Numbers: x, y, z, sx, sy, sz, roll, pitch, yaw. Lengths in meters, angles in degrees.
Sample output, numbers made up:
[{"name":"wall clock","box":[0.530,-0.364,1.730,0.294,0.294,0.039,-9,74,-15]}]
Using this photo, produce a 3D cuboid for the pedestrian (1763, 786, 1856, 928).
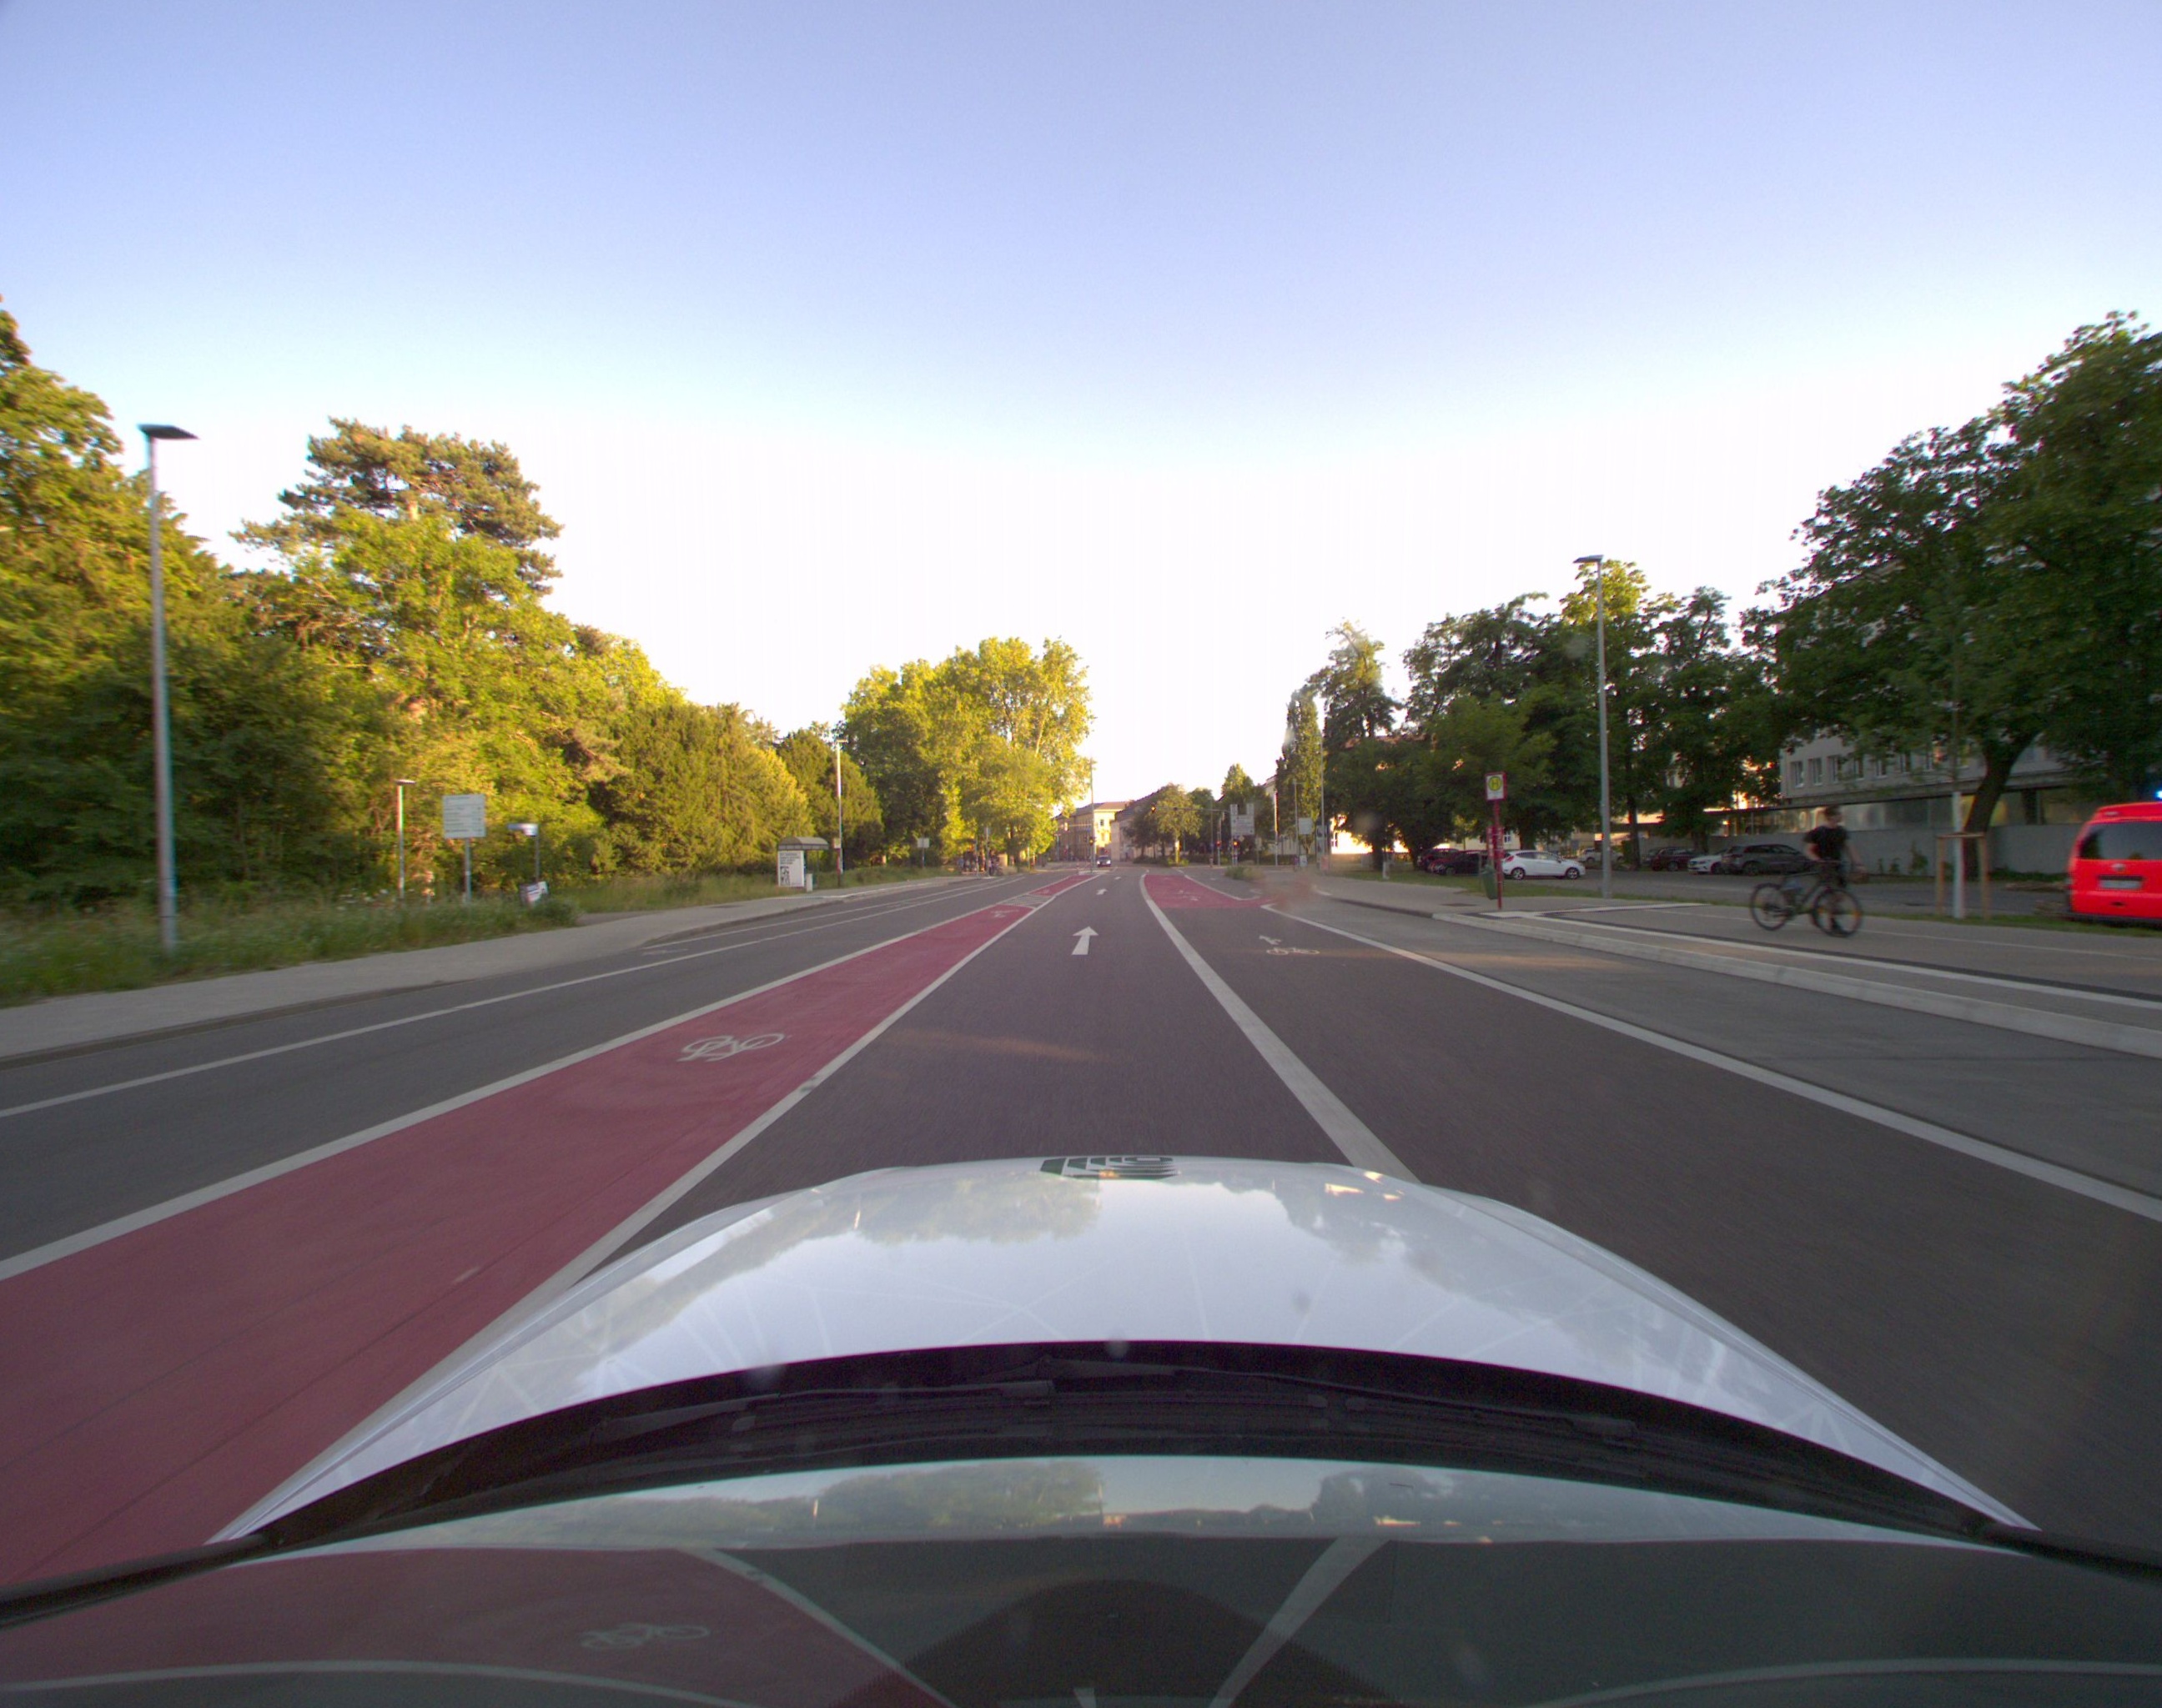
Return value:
[{"name":"pedestrian","box":[10.610,0.041,11.883,0.720,2.014,0.695,0,-1,1]}]

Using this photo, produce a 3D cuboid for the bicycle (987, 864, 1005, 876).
[{"name":"bicycle","box":[-7.849,1.501,75.123,1.749,1.030,0.583,-2,-1,35]}]

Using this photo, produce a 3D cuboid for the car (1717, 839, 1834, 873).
[{"name":"car","box":[34.309,0.119,40.335,3.959,1.617,1.920,0,-1,13]}]

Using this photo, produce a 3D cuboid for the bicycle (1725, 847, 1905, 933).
[{"name":"bicycle","box":[10.646,0.494,11.927,0.827,1.097,1.969,-3,-1,1]}]

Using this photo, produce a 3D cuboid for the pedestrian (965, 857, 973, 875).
[{"name":"pedestrian","box":[-12.078,1.285,88.187,0.653,2.014,0.600,0,-1,-34]}]

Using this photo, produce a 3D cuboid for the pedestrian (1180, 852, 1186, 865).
[{"name":"pedestrian","box":[15.246,0.666,122.178,0.866,2.014,0.723,0,-1,4]}]

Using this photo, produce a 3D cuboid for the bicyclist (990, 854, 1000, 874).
[{"name":"bicyclist","box":[-7.900,0.916,75.151,0.631,1.780,0.580,-2,-1,35]}]

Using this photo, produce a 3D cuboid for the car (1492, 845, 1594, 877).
[{"name":"car","box":[22.819,0.362,40.337,3.964,1.537,1.916,0,0,8]}]

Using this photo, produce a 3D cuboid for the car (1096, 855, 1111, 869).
[{"name":"car","box":[3.111,1.129,112.336,1.843,1.720,4.297,-3,0,1]}]

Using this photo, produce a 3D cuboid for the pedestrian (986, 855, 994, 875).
[{"name":"pedestrian","box":[-7.966,0.946,71.311,0.604,1.695,0.499,-1,-1,6]}]

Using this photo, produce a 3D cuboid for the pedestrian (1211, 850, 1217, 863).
[{"name":"pedestrian","box":[17.391,0.343,106.531,0.597,1.636,0.691,0,0,0]}]

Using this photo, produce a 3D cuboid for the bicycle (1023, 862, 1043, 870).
[{"name":"bicycle","box":[-5.959,1.531,101.721,2.418,0.924,0.776,-1,0,5]}]

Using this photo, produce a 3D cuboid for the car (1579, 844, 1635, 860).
[{"name":"car","box":[48.676,-0.151,75.443,3.962,1.342,1.825,-1,-1,10]}]

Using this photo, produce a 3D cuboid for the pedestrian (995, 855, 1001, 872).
[{"name":"pedestrian","box":[-10.412,1.196,102.111,0.636,2.014,0.702,-2,-1,6]}]

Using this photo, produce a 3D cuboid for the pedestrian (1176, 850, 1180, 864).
[{"name":"pedestrian","box":[14.554,0.446,122.068,0.632,2.014,0.720,0,-1,1]}]

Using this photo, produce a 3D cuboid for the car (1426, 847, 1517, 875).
[{"name":"car","box":[23.791,0.455,49.748,4.545,1.449,1.904,-3,-2,7]}]

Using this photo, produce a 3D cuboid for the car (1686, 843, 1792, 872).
[{"name":"car","box":[34.531,0.177,42.863,3.961,1.475,1.839,0,0,11]}]

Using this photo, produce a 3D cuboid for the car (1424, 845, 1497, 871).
[{"name":"car","box":[24.621,0.280,52.920,3.961,1.561,1.791,-2,0,11]}]

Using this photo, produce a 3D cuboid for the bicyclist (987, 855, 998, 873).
[{"name":"bicyclist","box":[-7.983,0.909,73.491,0.631,1.649,0.634,-2,-1,35]}]

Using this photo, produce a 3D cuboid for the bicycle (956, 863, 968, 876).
[{"name":"bicycle","box":[-11.031,1.407,75.428,0.768,1.100,2.121,-1,0,-1]}]

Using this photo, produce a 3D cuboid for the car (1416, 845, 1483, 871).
[{"name":"car","box":[25.223,0.274,55.888,3.874,1.694,1.841,0,0,8]}]

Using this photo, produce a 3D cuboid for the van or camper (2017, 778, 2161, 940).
[{"name":"van or camper","box":[17.511,0.059,11.788,4.780,2.245,2.303,0,0,13]}]

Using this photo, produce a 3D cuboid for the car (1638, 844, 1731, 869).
[{"name":"car","box":[35.695,0.173,48.263,3.963,1.442,1.907,0,0,9]}]

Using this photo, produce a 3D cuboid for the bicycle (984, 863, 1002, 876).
[{"name":"bicycle","box":[-7.932,1.384,73.454,1.548,1.111,0.637,-2,-1,35]}]

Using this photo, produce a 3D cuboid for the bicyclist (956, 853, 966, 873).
[{"name":"bicyclist","box":[-11.072,0.874,75.323,0.732,1.824,0.712,-1,-2,3]}]
